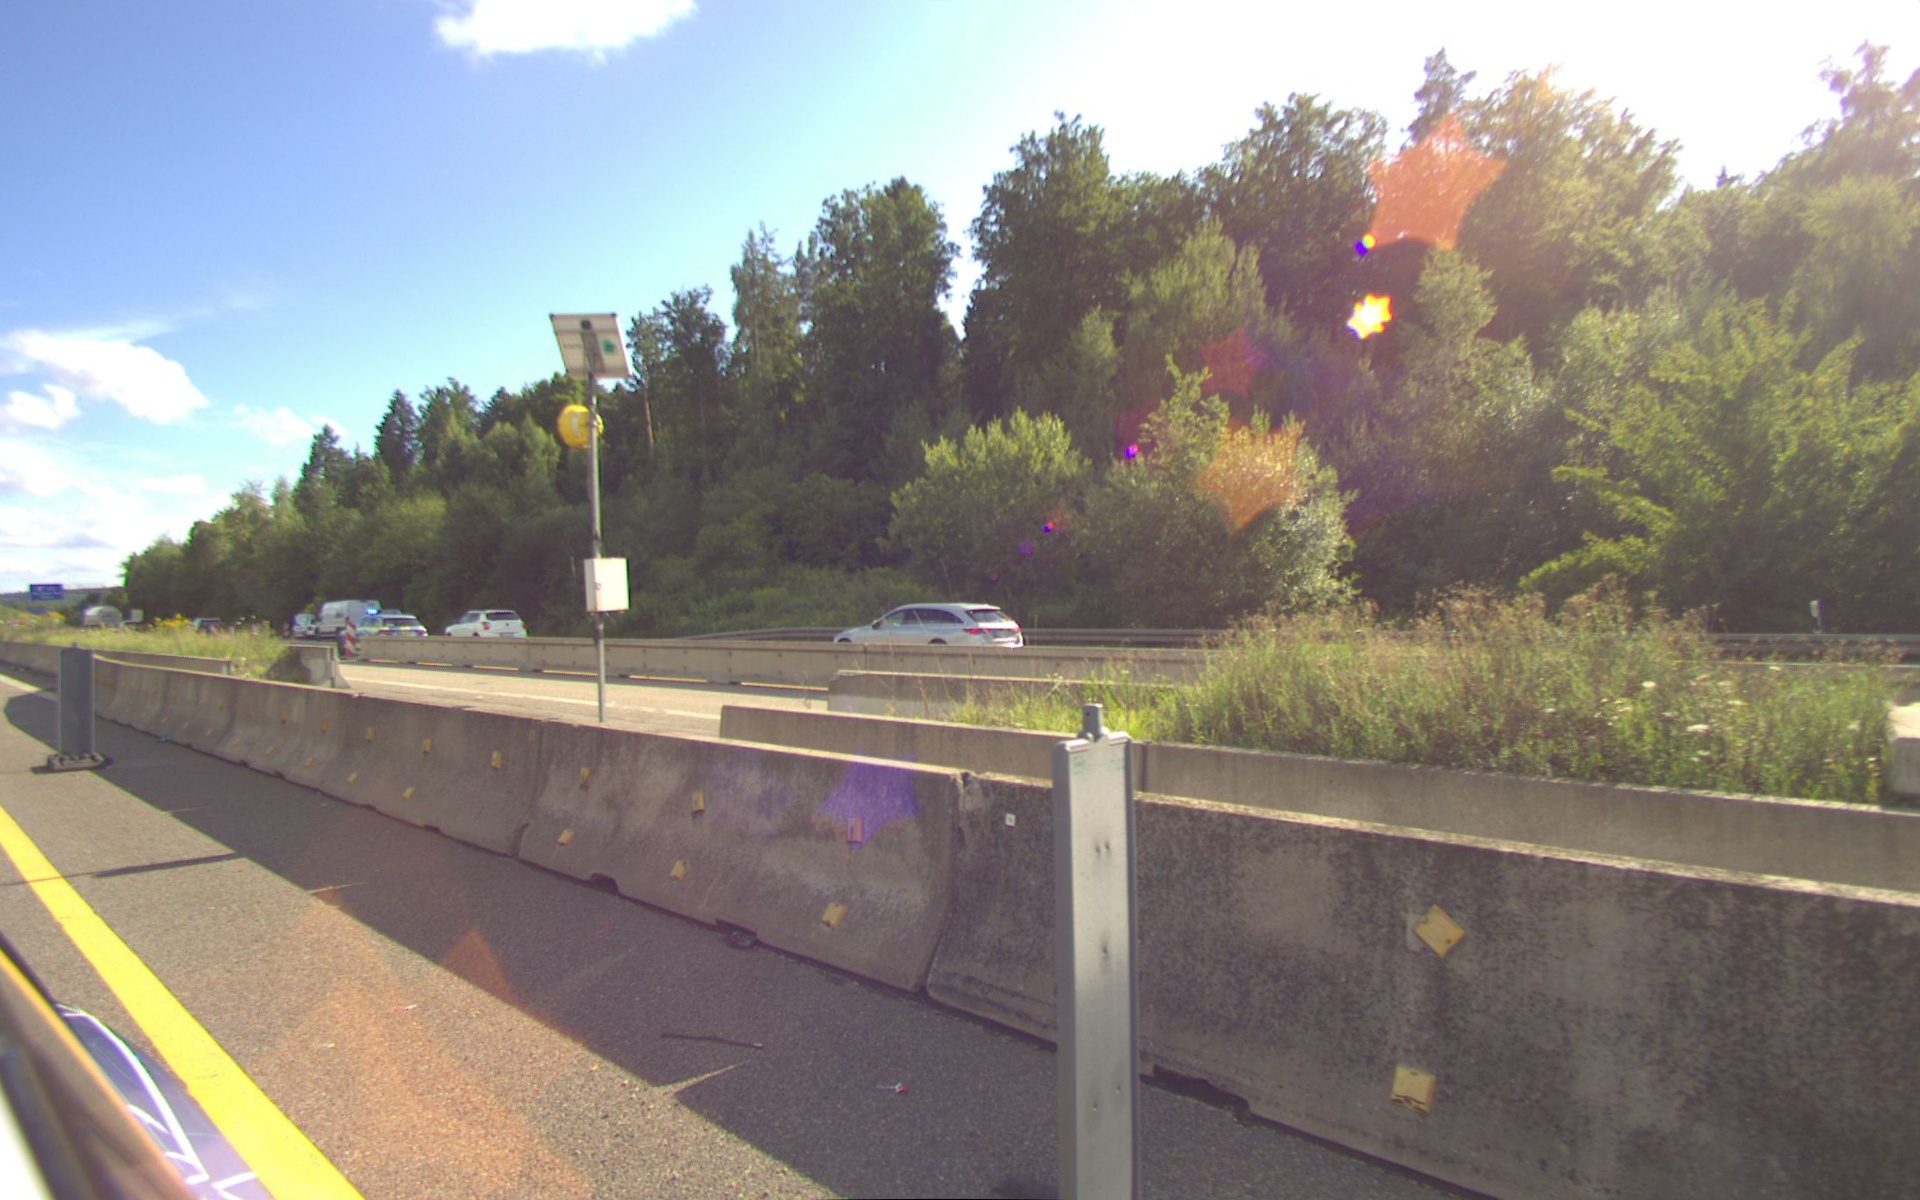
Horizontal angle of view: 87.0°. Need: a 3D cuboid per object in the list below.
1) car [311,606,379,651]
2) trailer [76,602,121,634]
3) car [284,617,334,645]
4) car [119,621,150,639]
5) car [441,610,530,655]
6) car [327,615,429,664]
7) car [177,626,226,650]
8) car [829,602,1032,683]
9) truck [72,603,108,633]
[{"bbox_3d":[-38.695,1.768,63.586,6.523,2.705,2.006,-1,0,43],"label":"car"},{"bbox_3d":[-100.547,2.119,118.022,11.113,3.516,2.771,-1,0,43],"label":"trailer"},{"bbox_3d":[-45.718,2.130,71.029,4.762,1.867,1.840,-1,0,43],"label":"car"},{"bbox_3d":[-78.180,2.816,95.857,4.018,1.614,1.758,-1,0,43],"label":"car"},{"bbox_3d":[-18.408,1.224,39.193,4.018,1.614,1.758,-1,0,43],"label":"car"},{"bbox_3d":[-21.138,1.390,36.683,4.673,1.614,1.760,-1,0,40],"label":"car"},{"bbox_3d":[-53.763,2.677,71.743,4.481,1.600,1.938,-1,0,42],"label":"car"},{"bbox_3d":[-0.757,0.902,22.687,4.677,1.614,1.758,-1,0,43],"label":"car"},{"bbox_3d":[-105.305,2.205,122.491,4.940,3.516,2.754,-1,-1,43],"label":"truck"}]
